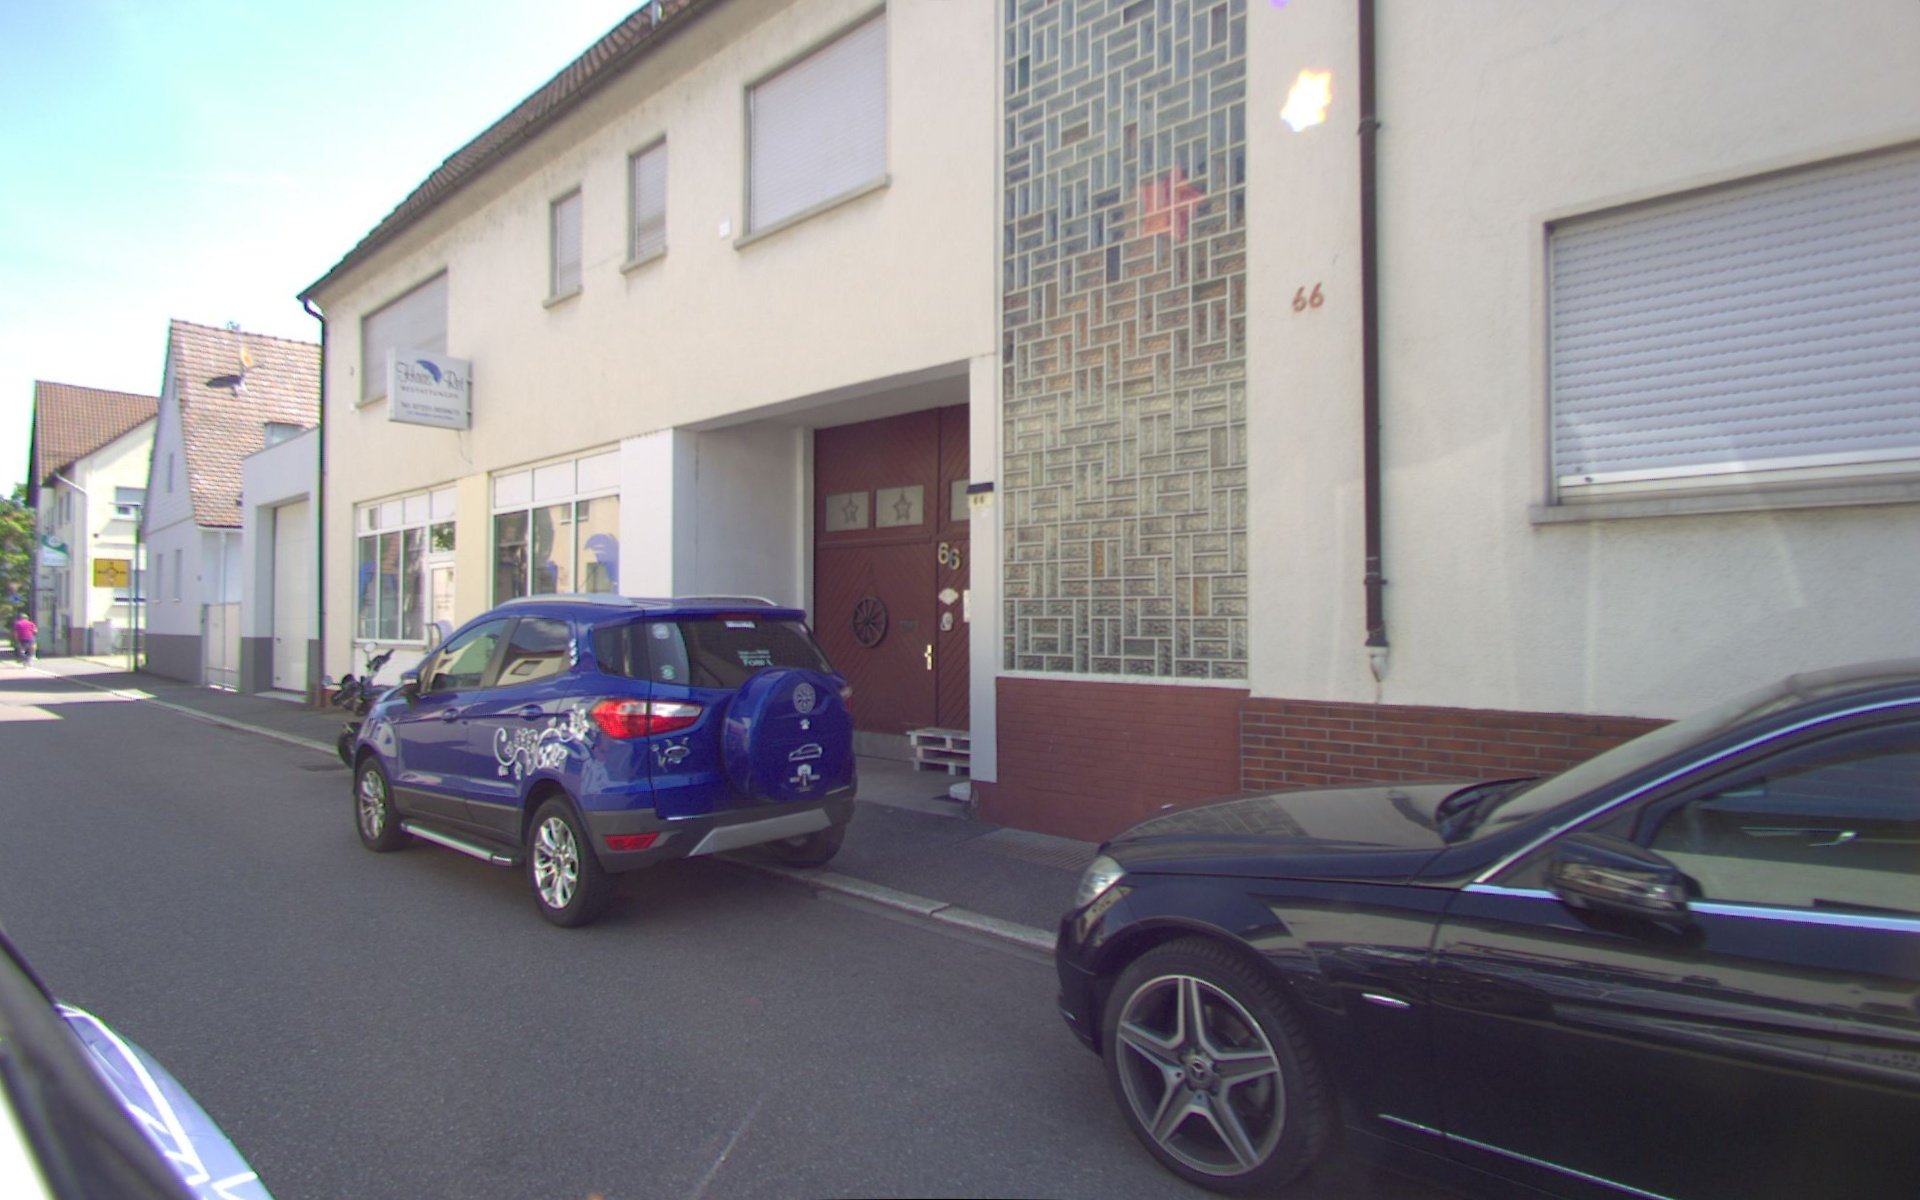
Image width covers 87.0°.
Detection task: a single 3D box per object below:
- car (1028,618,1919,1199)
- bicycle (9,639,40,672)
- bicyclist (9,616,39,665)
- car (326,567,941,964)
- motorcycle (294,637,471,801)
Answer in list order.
[{"bbox_3d":[2.374,0.749,2.059,4.389,1.422,1.679,-2,-2,43],"label":"car"},{"bbox_3d":[-32.055,1.874,34.659,0.734,1.055,1.941,0,-1,-44],"label":"bicycle"},{"bbox_3d":[-32.083,1.387,34.689,0.738,1.649,0.957,0,-1,-45],"label":"bicyclist"},{"bbox_3d":[-2.223,0.767,6.257,4.147,1.652,1.699,-2,-4,41],"label":"car"},{"bbox_3d":[-5.374,1.018,9.362,2.105,1.322,0.799,-2,-2,42],"label":"motorcycle"}]
